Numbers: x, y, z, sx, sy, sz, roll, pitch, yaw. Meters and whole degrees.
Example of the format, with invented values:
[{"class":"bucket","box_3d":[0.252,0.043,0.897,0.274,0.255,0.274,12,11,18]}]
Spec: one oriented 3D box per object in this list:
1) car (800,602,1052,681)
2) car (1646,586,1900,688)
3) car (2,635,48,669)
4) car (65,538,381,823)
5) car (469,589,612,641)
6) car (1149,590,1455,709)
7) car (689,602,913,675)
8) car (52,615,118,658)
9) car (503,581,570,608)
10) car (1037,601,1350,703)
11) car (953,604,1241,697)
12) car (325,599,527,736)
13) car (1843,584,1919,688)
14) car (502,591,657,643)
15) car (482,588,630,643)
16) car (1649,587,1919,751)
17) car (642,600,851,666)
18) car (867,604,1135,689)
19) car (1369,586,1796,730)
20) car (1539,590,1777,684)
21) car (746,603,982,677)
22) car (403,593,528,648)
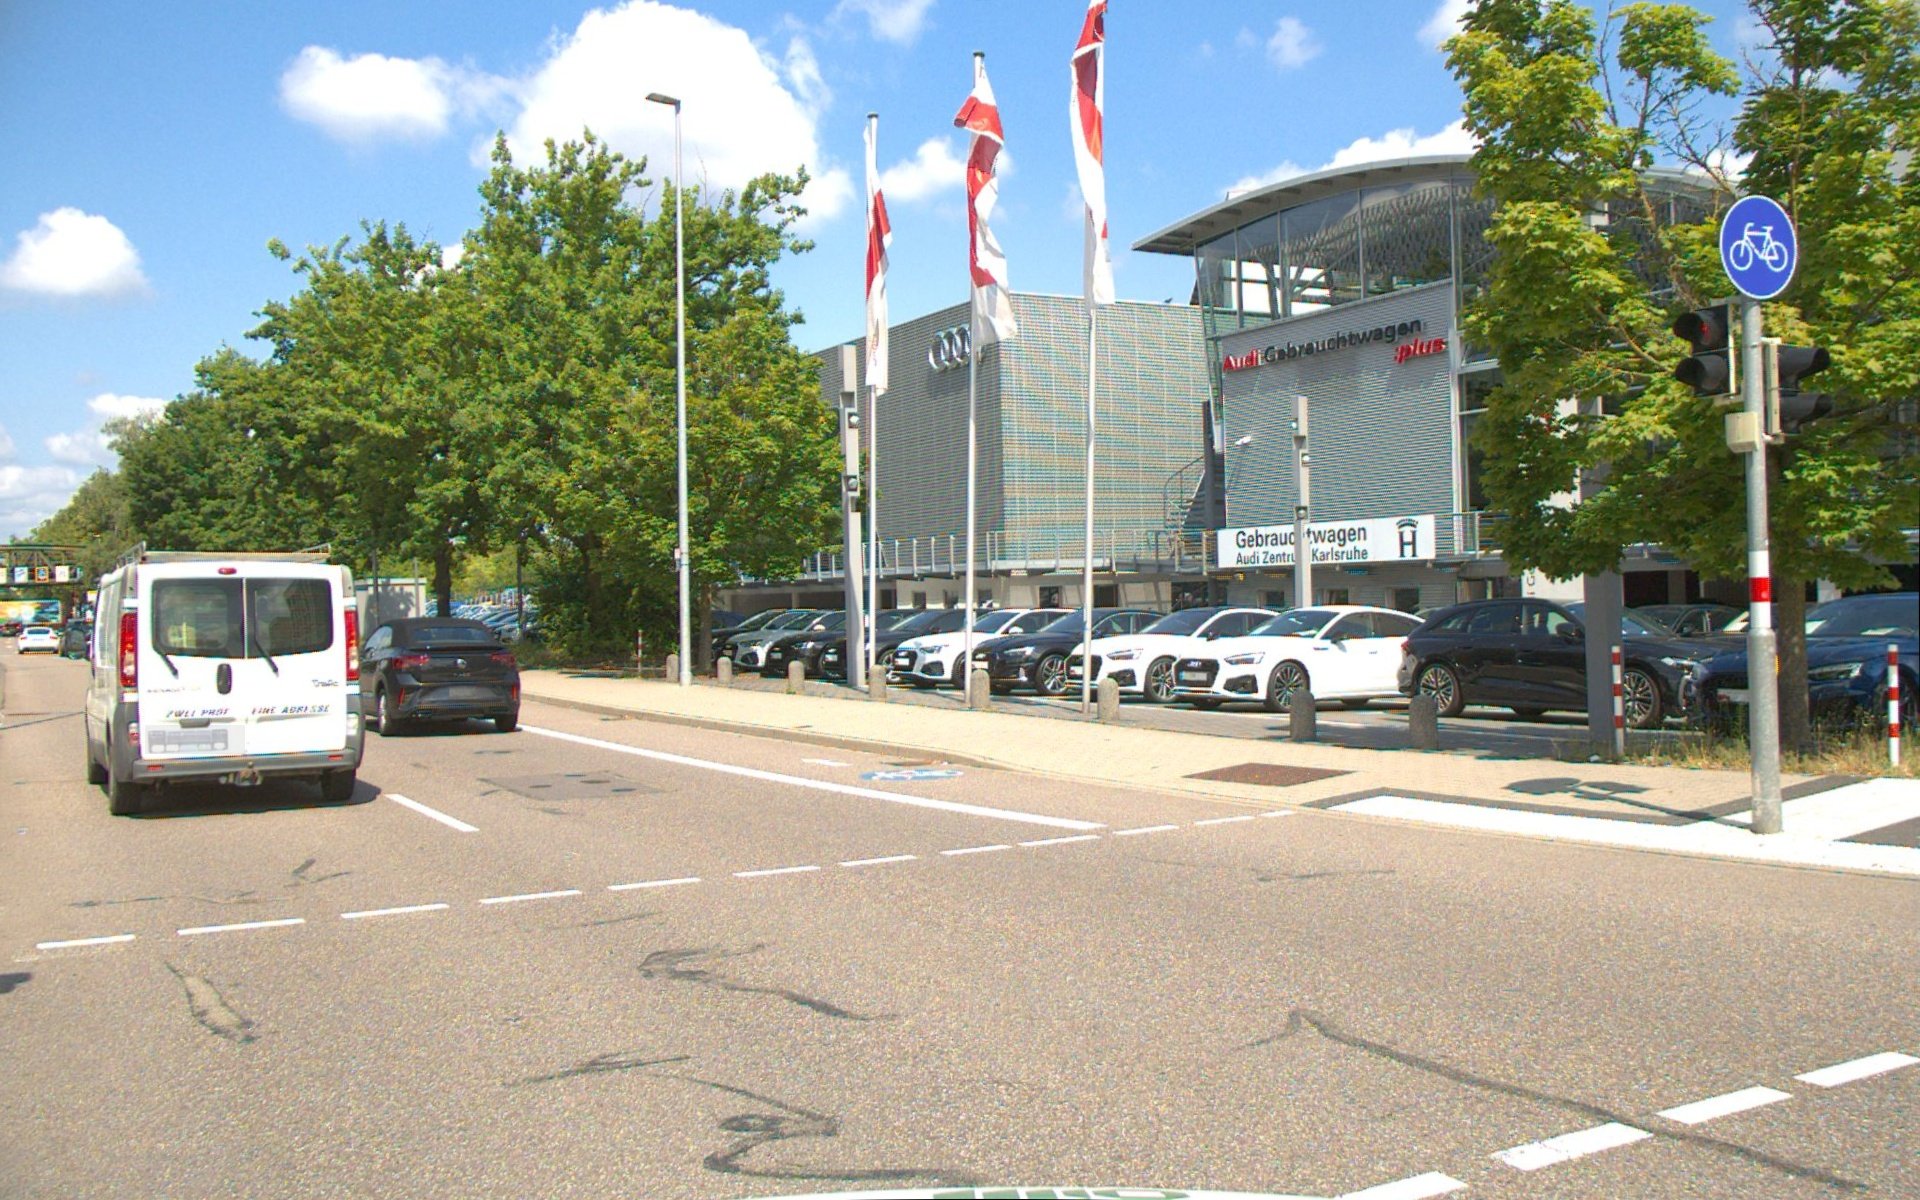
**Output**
[{"class":"car","box_3d":[-0.632,0.809,32.080,4.528,1.320,1.887,3,-1,-31]},{"class":"car","box_3d":[13.962,0.603,28.367,4.303,1.525,1.887,-2,0,-31]},{"class":"car","box_3d":[-47.807,2.632,84.531,1.838,1.467,3.955,-1,1,-33]},{"class":"car","box_3d":[-6.648,0.556,14.627,1.954,2.096,4.515,-1,1,-32]},{"class":"car","box_3d":[-14.734,0.510,58.157,4.528,1.707,1.887,-1,1,-31]},{"class":"car","box_3d":[4.677,0.684,22.490,3.946,1.490,1.777,2,-2,-31]},{"class":"car","box_3d":[-3.483,0.849,36.503,4.528,1.429,1.887,2,0,-31]},{"class":"car","box_3d":[-37.469,1.523,70.773,1.760,1.646,4.209,-1,1,-38]},{"class":"car","box_3d":[-30.246,-0.404,118.128,4.304,1.805,1.919,-1,1,-28]},{"class":"car","box_3d":[3.541,0.714,24.838,4.528,1.320,1.887,-1,1,-31]},{"class":"car","box_3d":[2.283,0.773,27.218,4.528,1.320,1.887,-1,1,-31]},{"class":"car","box_3d":[-7.475,0.844,22.934,1.757,1.657,3.956,-1,1,-32]},{"class":"car","box_3d":[15.609,0.552,23.932,1.958,1.537,4.706,2,-2,-31]},{"class":"car","box_3d":[-12.314,0.540,53.637,4.529,1.525,1.887,-2,0,-31]},{"class":"car","box_3d":[-13.669,0.492,56.004,4.528,1.707,1.887,-1,1,-31]},{"class":"car","box_3d":[8.877,0.565,15.886,4.528,1.320,1.887,-1,1,-31]},{"class":"car","box_3d":[-5.009,0.760,38.913,4.528,1.429,1.887,1,1,-31]},{"class":"car","box_3d":[0.766,0.774,29.565,4.528,1.320,1.887,-1,1,-31]},{"class":"car","box_3d":[7.203,0.652,19.659,1.772,1.490,4.706,2,-2,-31]},{"class":"car","box_3d":[12.947,0.650,30.632,4.303,1.525,1.887,-2,0,-31]},{"class":"car","box_3d":[-1.959,0.822,34.198,4.528,1.408,1.887,1,0,-31]},{"class":"car","box_3d":[-19.880,0.805,66.560,4.528,2.085,1.887,-1,1,-31]}]
